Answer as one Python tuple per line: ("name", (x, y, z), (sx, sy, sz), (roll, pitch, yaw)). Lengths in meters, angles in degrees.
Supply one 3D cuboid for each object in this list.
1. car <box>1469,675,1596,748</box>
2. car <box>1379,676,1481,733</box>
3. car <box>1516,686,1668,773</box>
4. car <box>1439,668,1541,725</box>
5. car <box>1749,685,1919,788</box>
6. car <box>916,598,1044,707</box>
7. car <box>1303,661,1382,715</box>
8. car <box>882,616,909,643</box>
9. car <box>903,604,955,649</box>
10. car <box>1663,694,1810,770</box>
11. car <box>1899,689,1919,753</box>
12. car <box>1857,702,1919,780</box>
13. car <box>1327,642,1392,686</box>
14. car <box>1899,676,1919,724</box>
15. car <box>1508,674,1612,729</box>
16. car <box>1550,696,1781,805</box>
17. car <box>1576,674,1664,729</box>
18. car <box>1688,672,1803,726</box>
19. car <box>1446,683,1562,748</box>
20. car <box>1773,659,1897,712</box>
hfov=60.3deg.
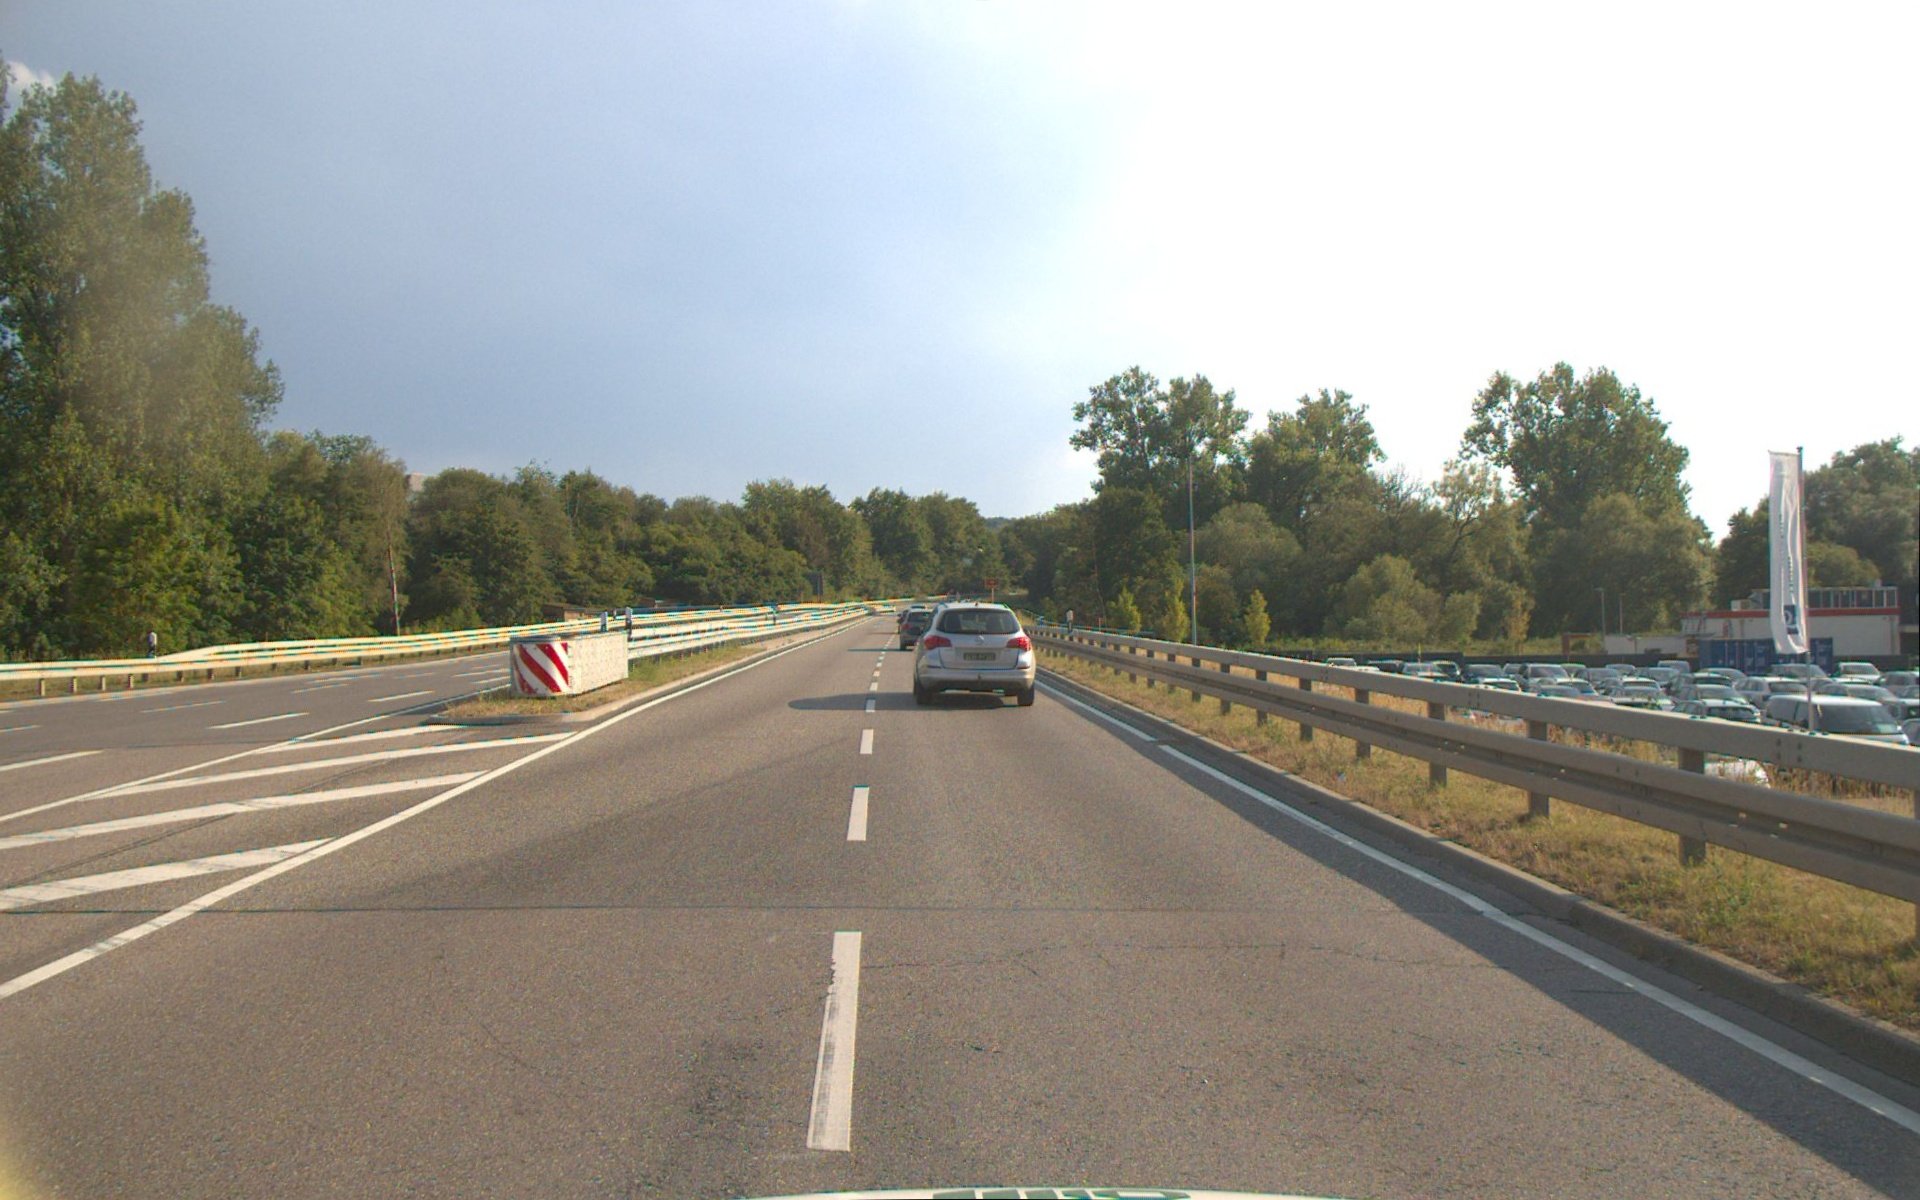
("car", (15.026, 2.895, 43.637), (1.841, 1.665, 4.730), (1, -1, 2))
("car", (15.922, 3.512, 56.272), (1.959, 1.679, 4.726), (1, -1, -3))
("car", (14.138, 2.860, 37.280), (1.840, 1.654, 4.731), (1, -1, 3))
("car", (18.106, 3.279, 56.728), (1.798, 1.746, 4.664), (1, -1, -3))
("car", (19.397, 2.974, 36.946), (1.839, 1.965, 4.733), (1, -1, 8))
("car", (0.232, 0.785, 25.427), (1.773, 1.512, 3.998), (1, -1, -2))
("car", (13.231, 3.033, 57.421), (1.739, 1.713, 3.998), (1, -1, -2))
("car", (-3.706, 1.705, 94.946), (1.462, 1.502, 3.357), (1, -1, -1))
("car", (-1.129, 0.928, 58.475), (1.773, 1.512, 3.998), (1, -1, -2))
("car", (20.120, 3.380, 43.086), (1.840, 1.665, 4.731), (1, -1, 3))
("car", (26.433, 3.219, 42.759), (1.840, 1.665, 4.731), (1, -1, 3))
("car", (21.643, 3.124, 36.377), (1.839, 1.548, 4.733), (1, -1, 8))
("car", (16.218, 2.580, 67.308), (1.738, 1.713, 4.000), (1, -1, 2))
("car", (34.848, 3.567, 57.570), (1.840, 1.665, 4.731), (1, -1, 3))
("car", (20.535, 3.452, 56.821), (1.841, 1.665, 4.729), (1, -1, 0))
("car", (12.870, 2.707, 30.538), (1.844, 1.654, 4.722), (1, -1, -6))
("car", (22.978, 3.512, 57.729), (1.737, 1.713, 4.002), (1, -1, 4))
("car", (27.005, 3.377, 57.025), (1.841, 1.665, 4.730), (1, -1, 2))
("car", (16.120, 3.392, 49.253), (1.841, 1.665, 4.728), (1, -1, -1))
("car", (30.218, 2.918, 57.294), (1.841, 1.665, 4.729), (1, -1, 1))
